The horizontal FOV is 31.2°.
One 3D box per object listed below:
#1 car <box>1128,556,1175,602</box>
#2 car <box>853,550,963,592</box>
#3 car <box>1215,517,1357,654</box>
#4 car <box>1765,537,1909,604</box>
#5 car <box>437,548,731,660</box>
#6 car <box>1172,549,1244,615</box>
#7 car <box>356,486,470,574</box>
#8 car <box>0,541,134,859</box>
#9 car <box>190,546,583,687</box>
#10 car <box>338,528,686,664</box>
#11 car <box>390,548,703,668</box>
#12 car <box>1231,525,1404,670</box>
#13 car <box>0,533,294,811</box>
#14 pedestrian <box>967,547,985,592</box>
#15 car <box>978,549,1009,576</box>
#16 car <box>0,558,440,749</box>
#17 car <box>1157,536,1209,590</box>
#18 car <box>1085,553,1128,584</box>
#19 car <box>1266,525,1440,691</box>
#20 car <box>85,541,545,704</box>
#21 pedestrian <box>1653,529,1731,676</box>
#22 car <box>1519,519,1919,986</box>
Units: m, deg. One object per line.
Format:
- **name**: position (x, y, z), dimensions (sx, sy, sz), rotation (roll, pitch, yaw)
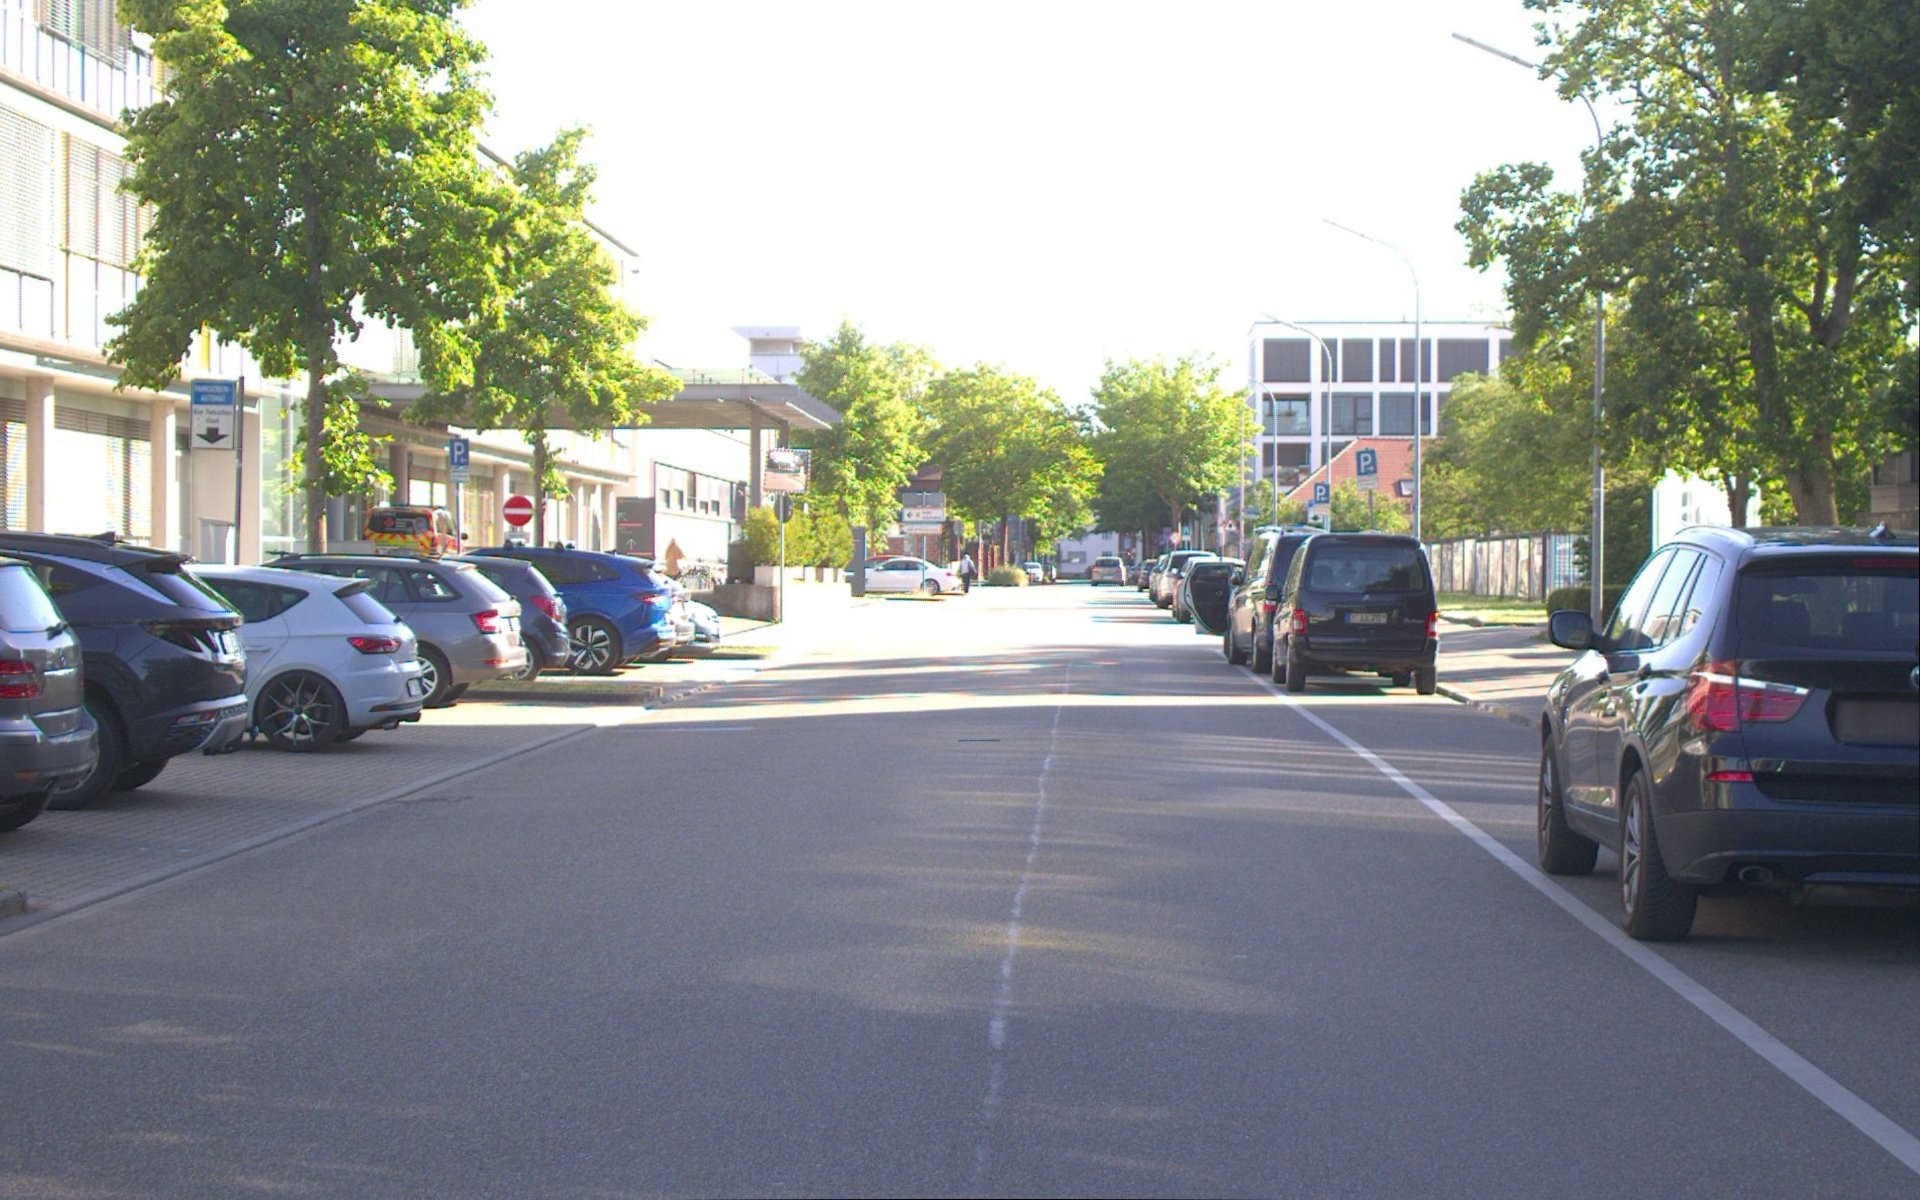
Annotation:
- **car**: position (8.484, -0.921, 152.476), dimensions (1.993, 2.007, 4.000), rotation (0, 0, 2)
- **car**: position (-1.914, -1.072, 127.660), dimensions (3.987, 1.514, 2.000), rotation (0, 0, 3)
- **car**: position (4.910, -0.241, 52.235), dimensions (1.875, 1.971, 4.000), rotation (-1, 1, 2)
- **car**: position (27.297, -0.907, 107.097), dimensions (3.987, 2.007, 2.000), rotation (0, 0, 0)
- **car**: position (-5.324, 0.039, 49.079), dimensions (3.987, 1.546, 2.000), rotation (0, 1, 0)
- **car**: position (5.706, -0.435, 79.302), dimensions (1.497, 1.474, 3.649), rotation (-1, 1, 2)
- **car**: position (-13.220, -1.664, 83.280), dimensions (1.993, 2.007, 4.000), rotation (0, 0, 2)
- **car**: position (-6.645, 0.452, 18.400), dimensions (3.987, 1.601, 1.872), rotation (2, 1, -1)
- **car**: position (-6.567, 0.172, 39.700), dimensions (4.213, 1.481, 1.872), rotation (2, 1, -1)
- **car**: position (-5.703, -0.064, 44.146), dimensions (4.213, 1.597, 1.872), rotation (2, 1, -1)
- **car**: position (-5.557, 0.089, 46.578), dimensions (3.987, 1.546, 2.000), rotation (-1, 1, 0)
- **car**: position (4.724, -0.059, 45.992), dimensions (1.993, 1.816, 4.198), rotation (-1, 1, 2)
- **car**: position (-6.461, 0.376, 21.348), dimensions (4.246, 1.606, 2.048), rotation (2, 1, -1)
- **pedestrian**: position (0.596, -1.122, 125.055), dimensions (0.618, 1.618, 0.716), rotation (-1, 1, 2)
- **car**: position (1.877, -2.133, 193.944), dimensions (1.727, 1.531, 4.000), rotation (0, 1, 1)
- **car**: position (-6.203, 0.393, 26.956), dimensions (3.987, 1.354, 1.743), rotation (2, 1, -1)
- **car**: position (6.526, -1.106, 100.836), dimensions (1.436, 1.555, 3.042), rotation (0, 1, 2)
- **car**: position (7.427, -1.601, 173.950), dimensions (1.744, 1.538, 3.999), rotation (1, 1, 8)
- **car**: position (4.495, 0.060, 39.755), dimensions (1.733, 1.824, 3.905), rotation (0, 1, 3)
- **car**: position (-6.347, 0.205, 34.165), dimensions (4.213, 1.457, 1.872), rotation (2, 1, -1)
- **pedestrian**: position (8.471, 0.019, 39.799), dimensions (0.698, 1.655, 0.752), rotation (-3, 1, 2)
- **car**: position (3.585, 0.512, 14.815), dimensions (1.812, 1.660, 4.592), rotation (1, 2, 3)
